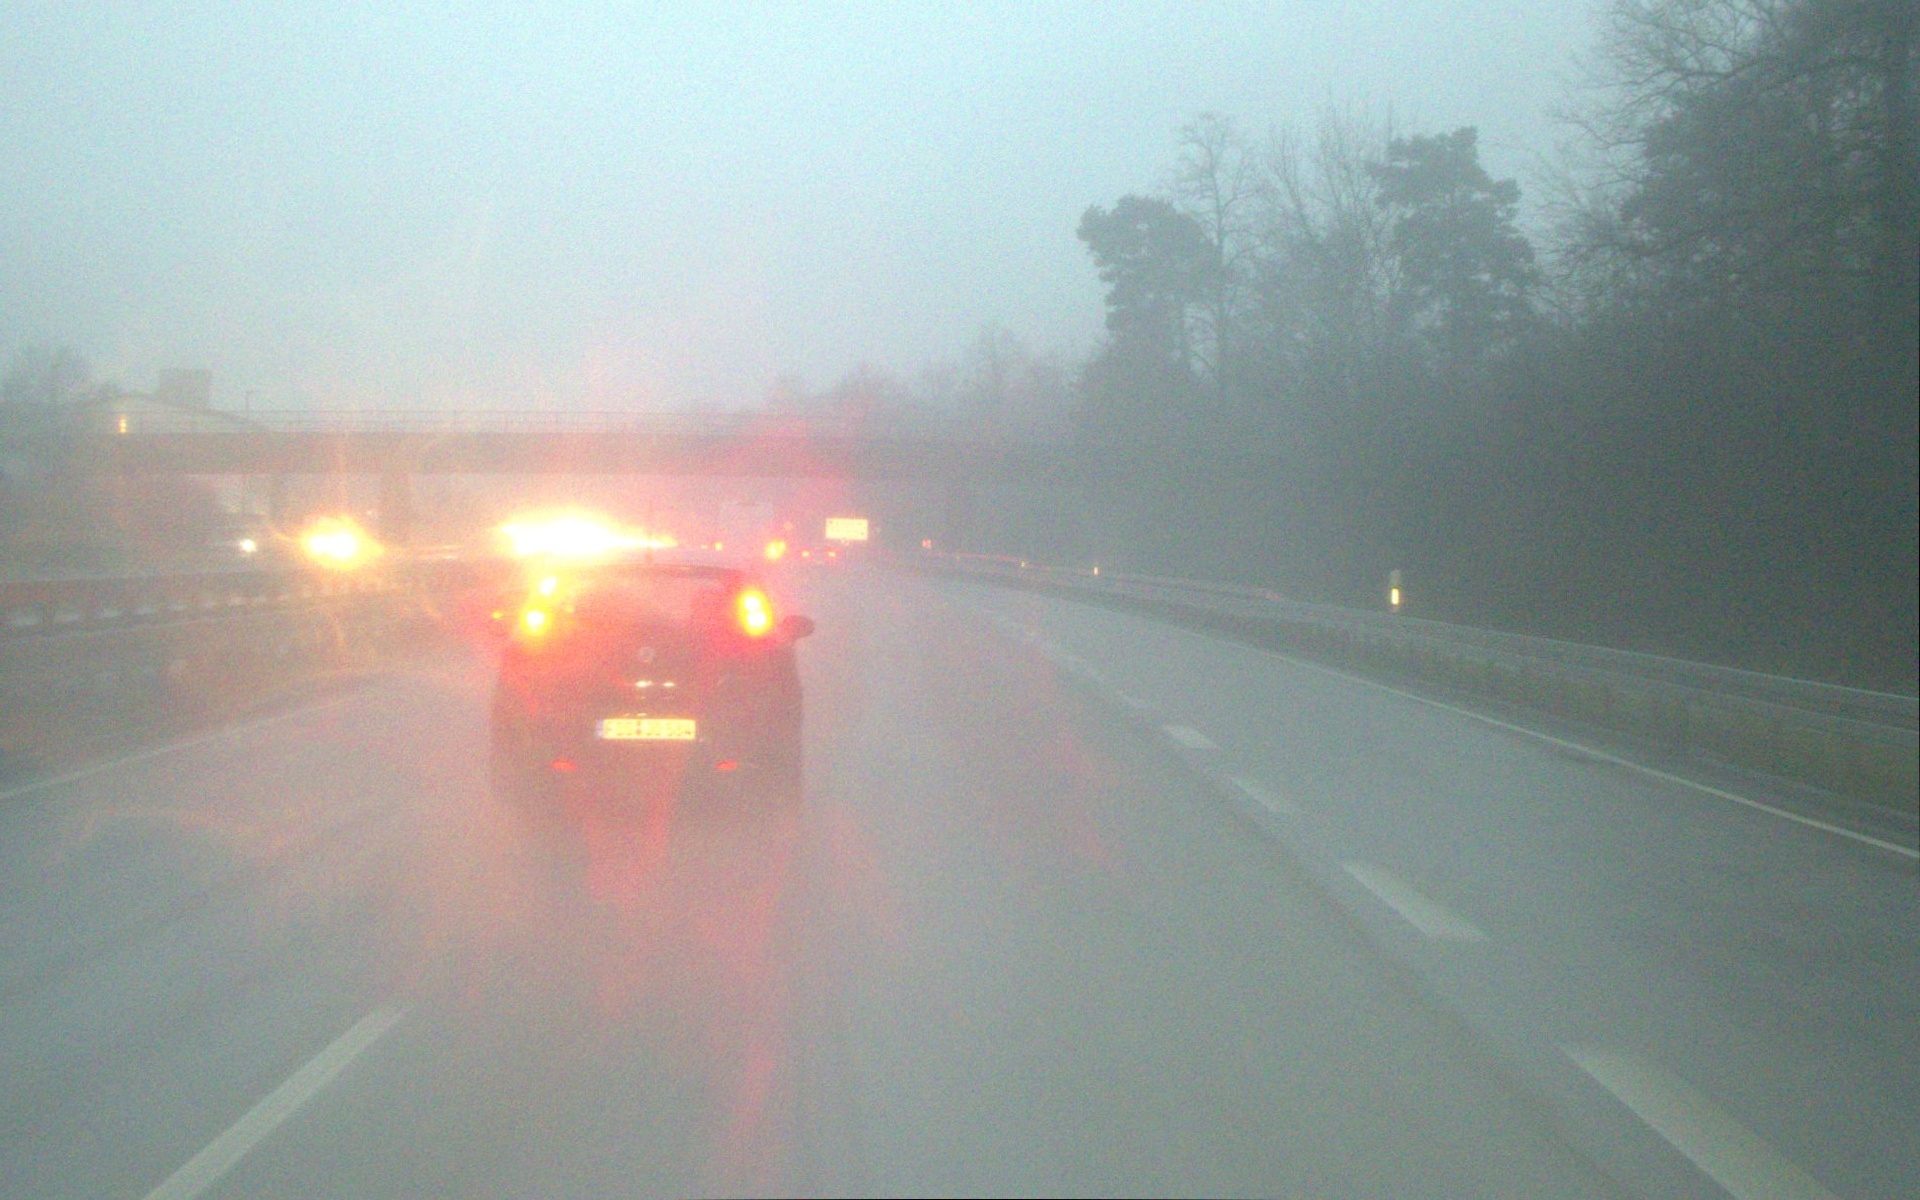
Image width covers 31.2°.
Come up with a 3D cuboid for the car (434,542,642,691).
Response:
[{"bbox_3d":[-4.582,0.132,37.943,1.776,1.529,4.703,-1,1,-1],"label":"car"}]

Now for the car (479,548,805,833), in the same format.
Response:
[{"bbox_3d":[-1.781,0.457,20.149,1.527,1.411,3.479,3,1,0],"label":"car"}]
